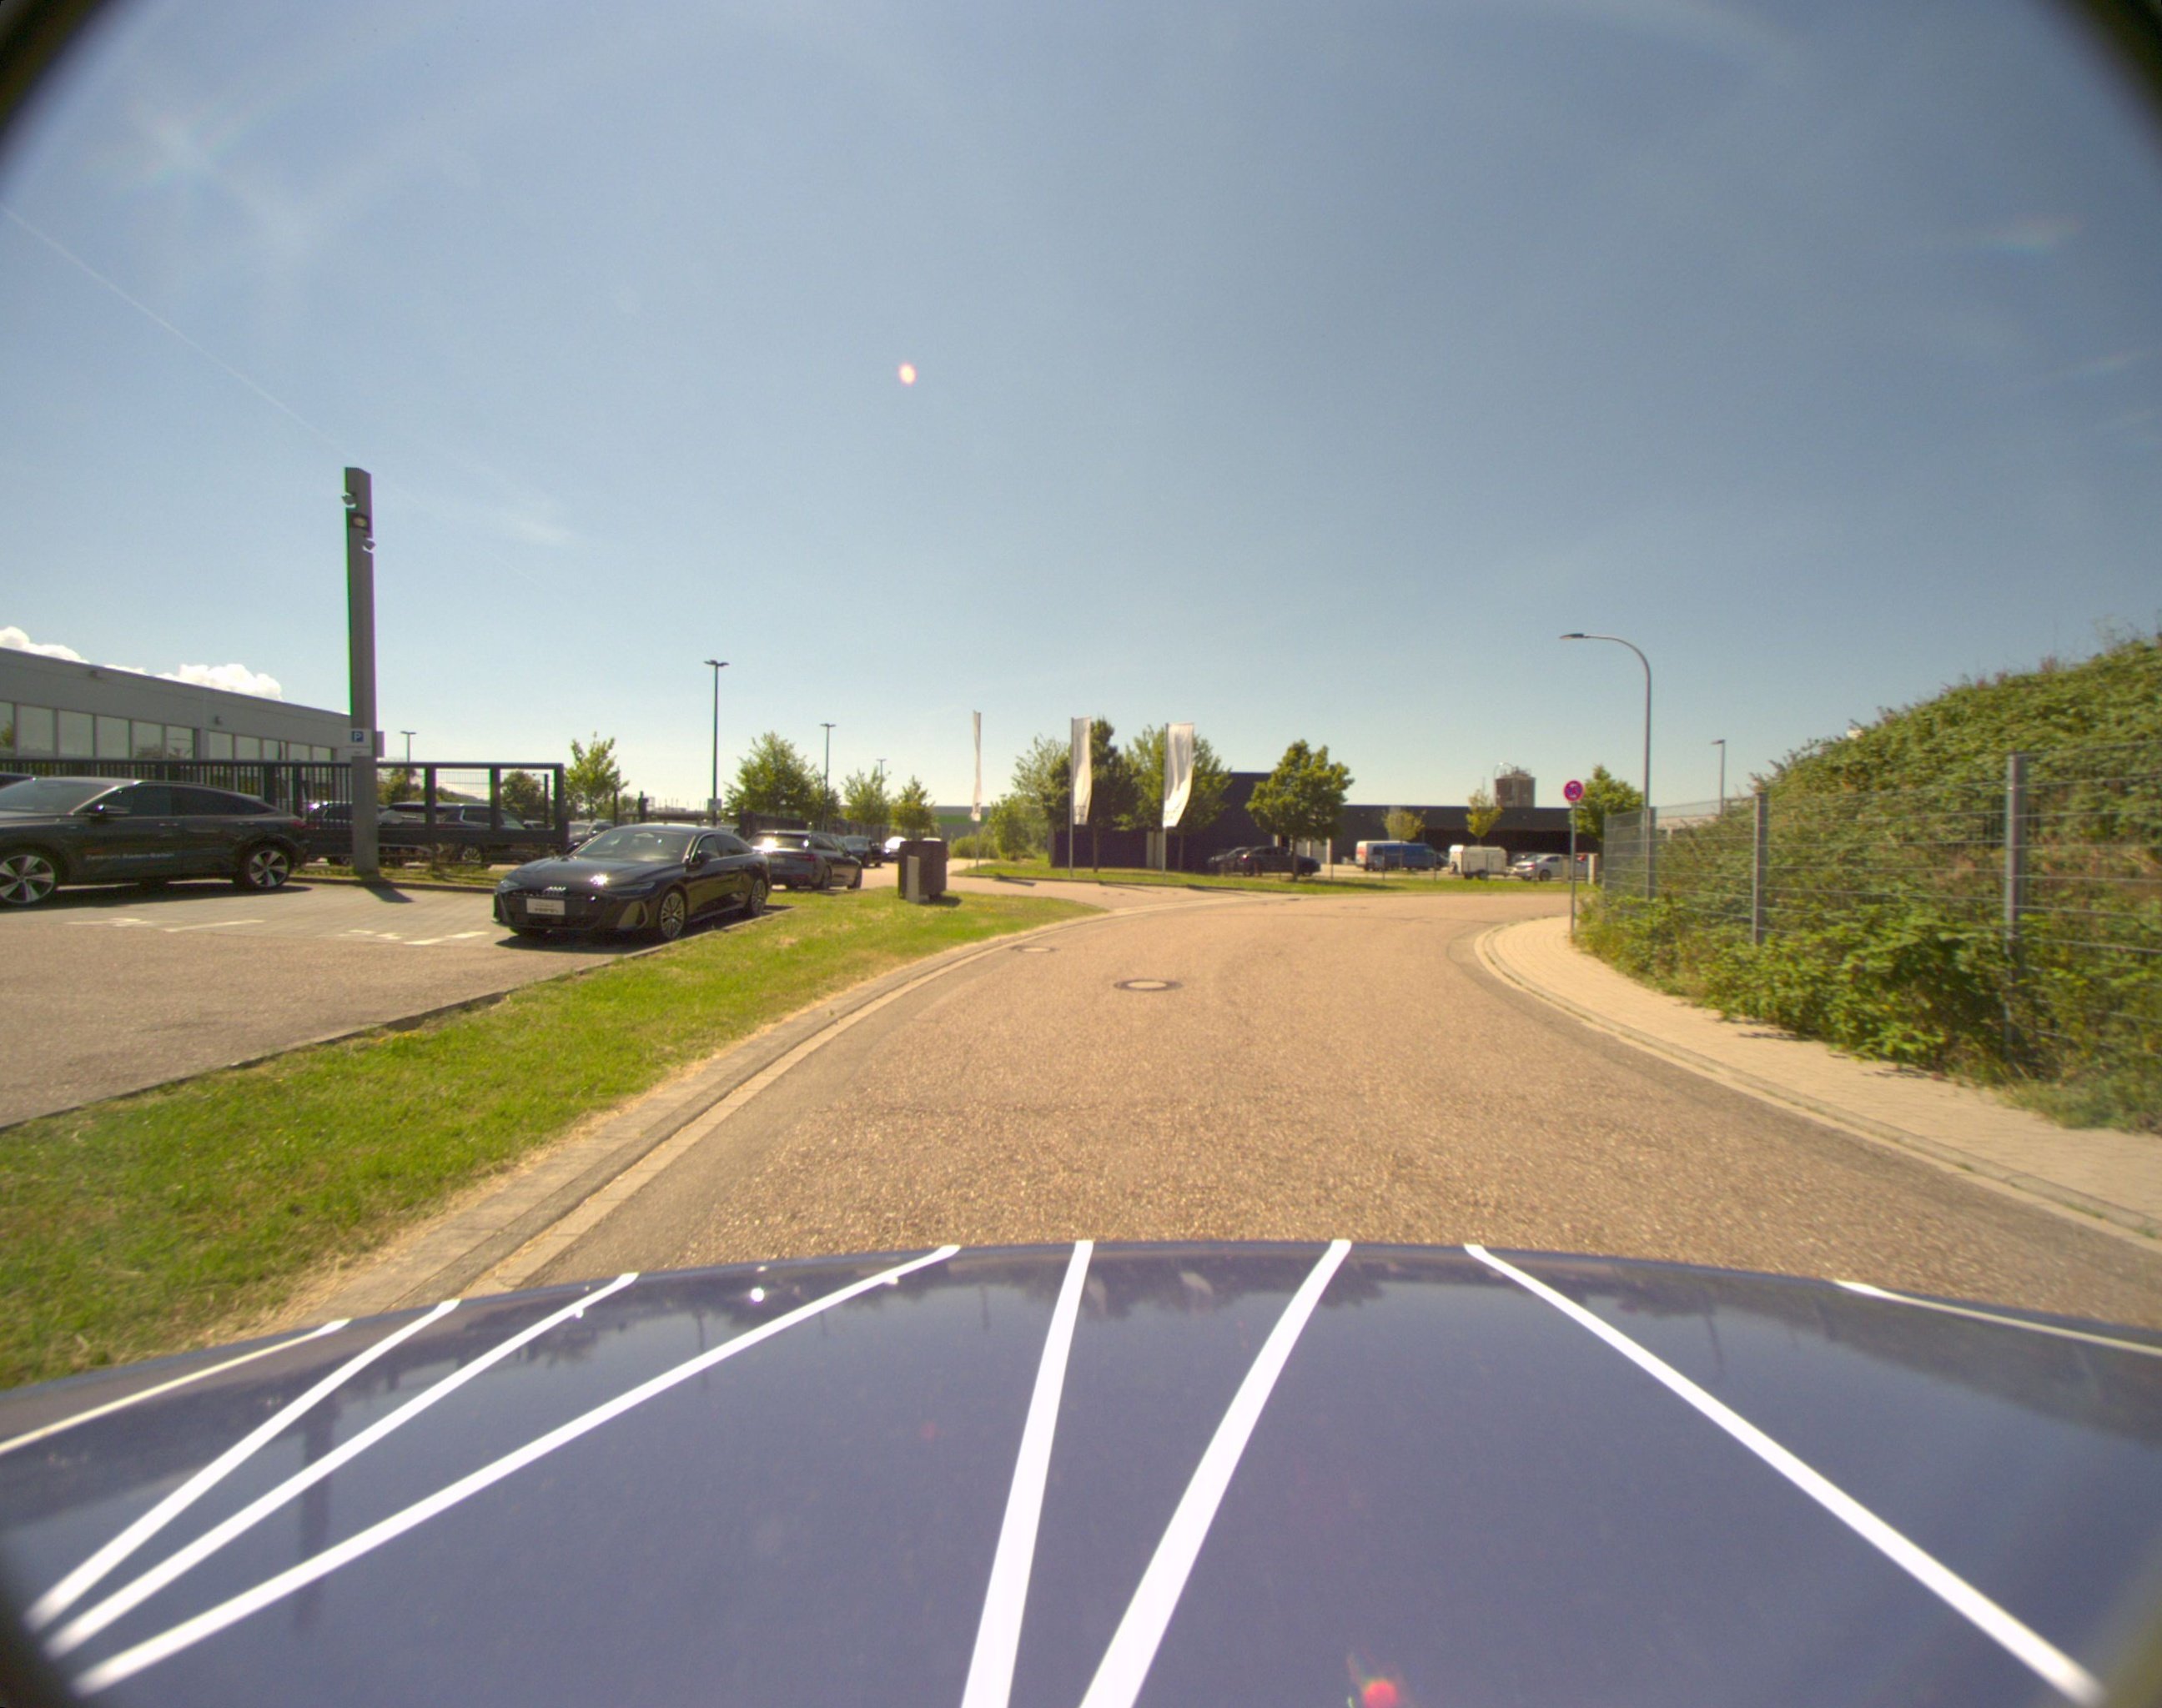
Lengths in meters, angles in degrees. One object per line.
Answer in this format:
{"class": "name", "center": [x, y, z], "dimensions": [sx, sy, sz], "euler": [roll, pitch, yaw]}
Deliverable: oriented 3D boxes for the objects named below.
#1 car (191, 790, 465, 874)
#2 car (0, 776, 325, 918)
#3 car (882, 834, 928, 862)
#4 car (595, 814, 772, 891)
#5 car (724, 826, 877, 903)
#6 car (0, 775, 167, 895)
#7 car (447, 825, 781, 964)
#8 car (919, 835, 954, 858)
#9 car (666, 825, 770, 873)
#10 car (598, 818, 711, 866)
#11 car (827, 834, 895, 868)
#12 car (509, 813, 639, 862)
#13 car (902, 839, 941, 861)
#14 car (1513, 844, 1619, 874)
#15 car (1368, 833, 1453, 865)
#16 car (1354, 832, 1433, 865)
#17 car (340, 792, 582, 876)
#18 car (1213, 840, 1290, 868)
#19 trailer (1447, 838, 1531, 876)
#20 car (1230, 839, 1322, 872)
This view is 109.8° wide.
{"class": "car", "center": [-17.203, -0.474, 17.779], "dimensions": [1.967, 1.620, 4.624], "euler": [2, 1, -4]}
{"class": "car", "center": [-13.451, -0.137, 10.297], "dimensions": [1.829, 1.634, 4.783], "euler": [2, 1, -4]}
{"class": "car", "center": [-10.567, -0.395, 45.923], "dimensions": [1.779, 1.558, 4.404], "euler": [2, 1, -1]}
{"class": "car", "center": [-9.154, -0.060, 18.046], "dimensions": [1.825, 1.520, 4.942], "euler": [2, 1, -4]}
{"class": "car", "center": [-6.250, 0.179, 17.619], "dimensions": [1.967, 1.459, 4.942], "euler": [2, 1, -4]}
{"class": "car", "center": [-16.096, -0.313, 10.450], "dimensions": [1.829, 1.684, 4.415], "euler": [3, 1, -4]}
{"class": "car", "center": [-6.108, 0.425, 10.853], "dimensions": [1.884, 1.446, 5.021], "euler": [3, 0, -4]}
{"class": "car", "center": [-10.857, -0.593, 57.458], "dimensions": [1.824, 1.637, 4.395], "euler": [2, 1, -1]}
{"class": "car", "center": [-13.780, -0.205, 29.172], "dimensions": [1.967, 1.620, 4.624], "euler": [2, 1, -4]}
{"class": "car", "center": [-16.407, -0.455, 29.510], "dimensions": [1.967, 1.620, 4.624], "euler": [2, 1, -4]}
{"class": "car", "center": [-10.043, -0.176, 34.975], "dimensions": [1.779, 1.393, 4.572], "euler": [2, 1, 0]}
{"class": "car", "center": [-18.926, -0.610, 28.655], "dimensions": [1.967, 1.620, 4.624], "euler": [2, 1, -4]}
{"class": "car", "center": [-10.817, -0.298, 51.659], "dimensions": [1.779, 1.349, 4.171], "euler": [2, 1, -1]}
{"class": "car", "center": [27.431, 0.288, 43.081], "dimensions": [4.853, 1.490, 1.855], "euler": [-2, 0, -1]}
{"class": "car", "center": [26.097, -0.411, 60.370], "dimensions": [5.830, 2.212, 2.143], "euler": [-2, 1, -4]}
{"class": "car", "center": [25.961, -0.442, 63.230], "dimensions": [5.676, 2.443, 2.195], "euler": [-2, 0, -4]}
{"class": "car", "center": [-13.941, -0.424, 17.537], "dimensions": [1.967, 1.620, 4.624], "euler": [2, 1, -4]}
{"class": "car", "center": [10.380, -0.005, 46.437], "dimensions": [4.170, 1.558, 1.779], "euler": [2, 1, -4]}
{"class": "trailer", "center": [23.035, 0.186, 42.982], "dimensions": [3.736, 1.987, 1.855], "euler": [2, 0, -1]}
{"class": "car", "center": [10.019, 0.069, 39.247], "dimensions": [4.281, 1.592, 1.779], "euler": [-1, 1, -3]}
